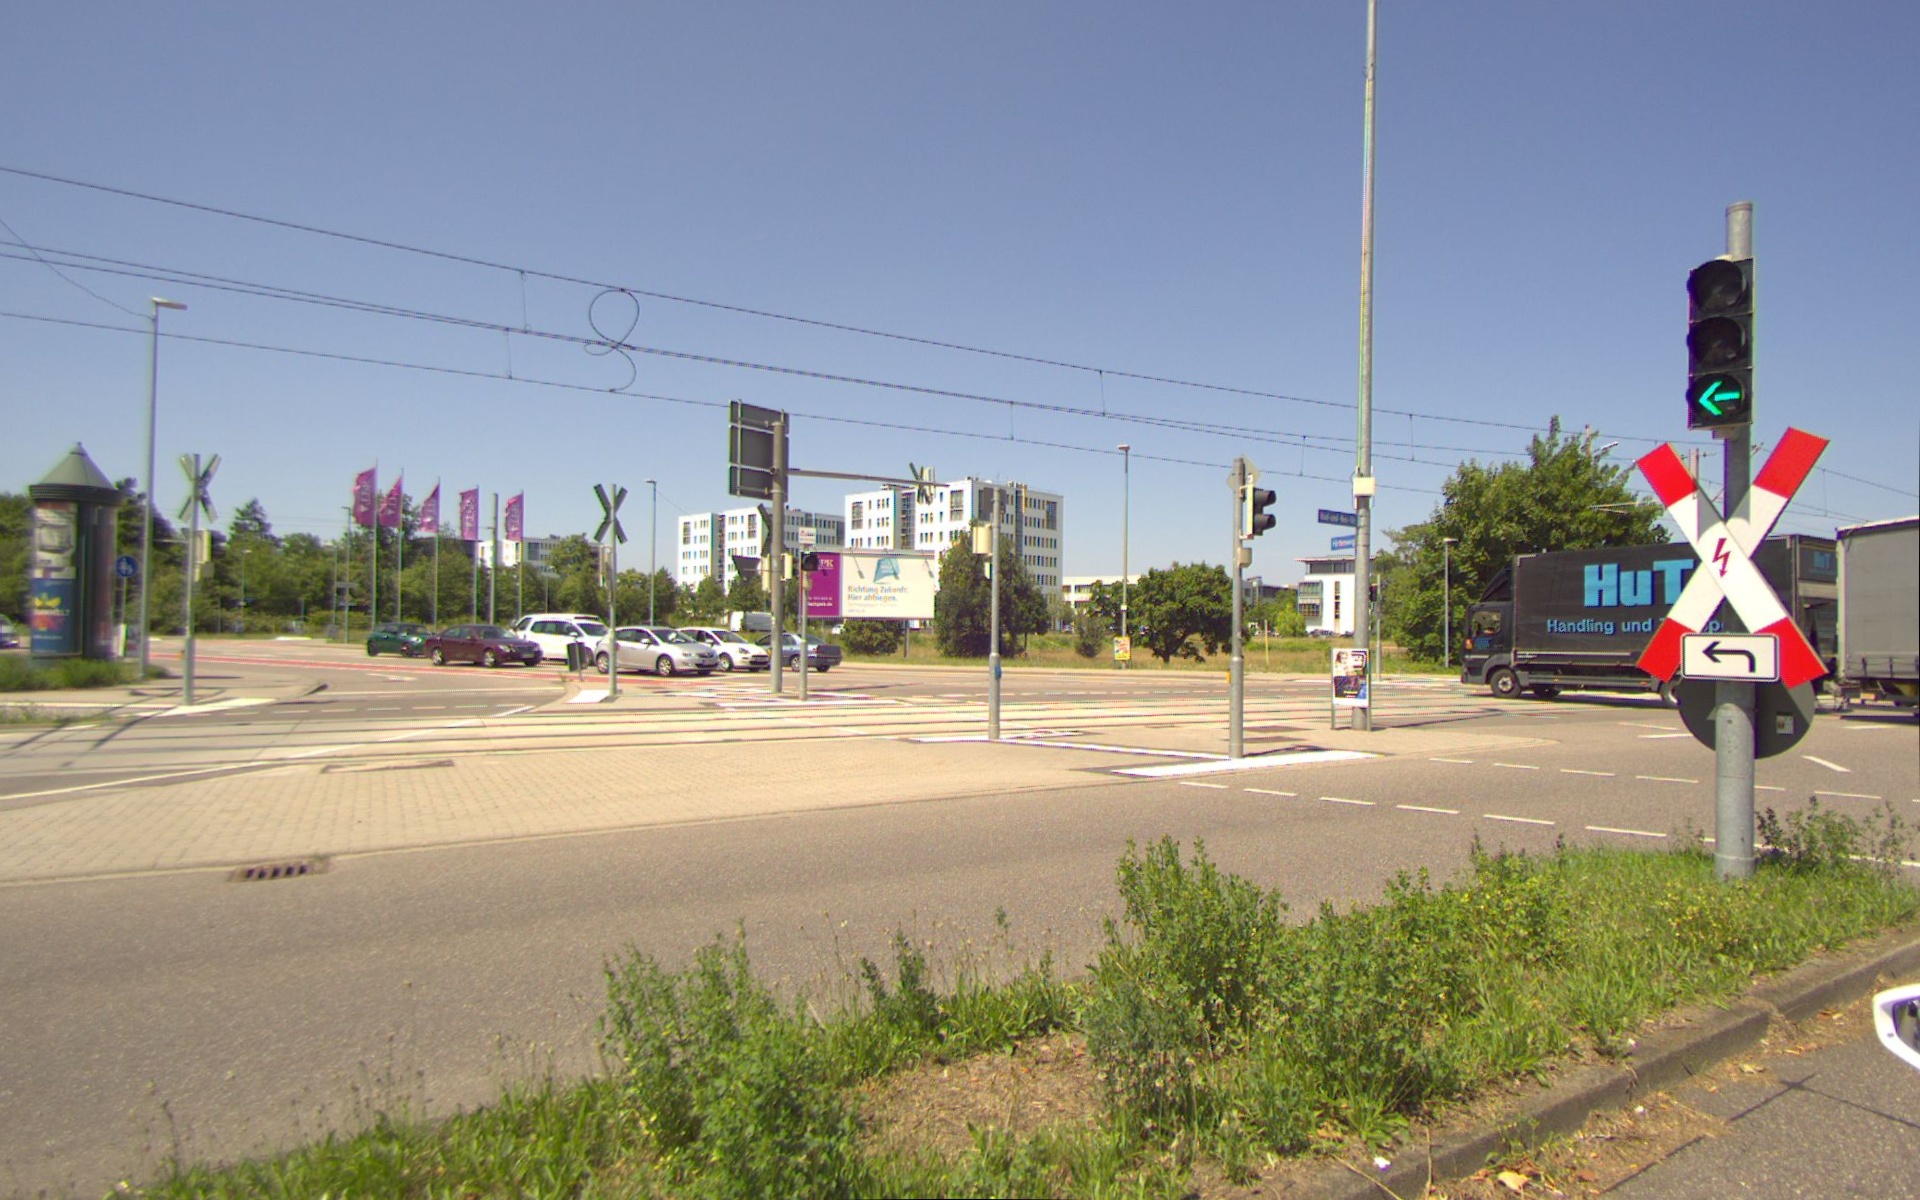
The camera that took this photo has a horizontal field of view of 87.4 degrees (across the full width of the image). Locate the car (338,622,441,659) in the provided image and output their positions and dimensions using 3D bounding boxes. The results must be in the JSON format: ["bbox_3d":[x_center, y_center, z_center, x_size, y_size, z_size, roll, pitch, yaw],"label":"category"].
[{"bbox_3d":[-24.021,1.667,42.287,4.154,1.390,1.896,0,0,28],"label":"car"}]

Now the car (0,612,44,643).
[{"bbox_3d":[-45.410,1.279,47.176,4.148,1.390,1.898,0,0,21],"label":"car"}]

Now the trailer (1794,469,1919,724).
[{"bbox_3d":[18.134,-0.077,16.099,2.779,4.479,8.755,2,-2,5],"label":"trailer"}]

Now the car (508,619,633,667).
[{"bbox_3d":[-14.705,1.561,37.890,4.456,1.660,1.997,0,0,28],"label":"car"}]

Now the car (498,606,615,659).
[{"bbox_3d":[-17.181,1.350,42.753,4.658,2.139,1.998,0,0,26],"label":"car"}]

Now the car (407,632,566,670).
[{"bbox_3d":[-16.504,1.732,35.047,5.135,1.147,1.899,0,0,19],"label":"car"}]

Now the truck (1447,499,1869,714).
[{"bbox_3d":[16.674,0.268,24.873,2.802,4.401,8.223,3,-2,-28],"label":"truck"}]

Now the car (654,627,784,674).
[{"bbox_3d":[-8.312,1.698,34.604,4.203,1.431,1.895,0,0,29],"label":"car"}]

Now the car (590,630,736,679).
[{"bbox_3d":[-9.169,1.634,30.967,4.204,1.311,1.996,0,0,30],"label":"car"}]

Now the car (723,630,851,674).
[{"bbox_3d":[-6.313,1.858,36.586,4.350,1.390,1.895,0,0,29],"label":"car"}]
